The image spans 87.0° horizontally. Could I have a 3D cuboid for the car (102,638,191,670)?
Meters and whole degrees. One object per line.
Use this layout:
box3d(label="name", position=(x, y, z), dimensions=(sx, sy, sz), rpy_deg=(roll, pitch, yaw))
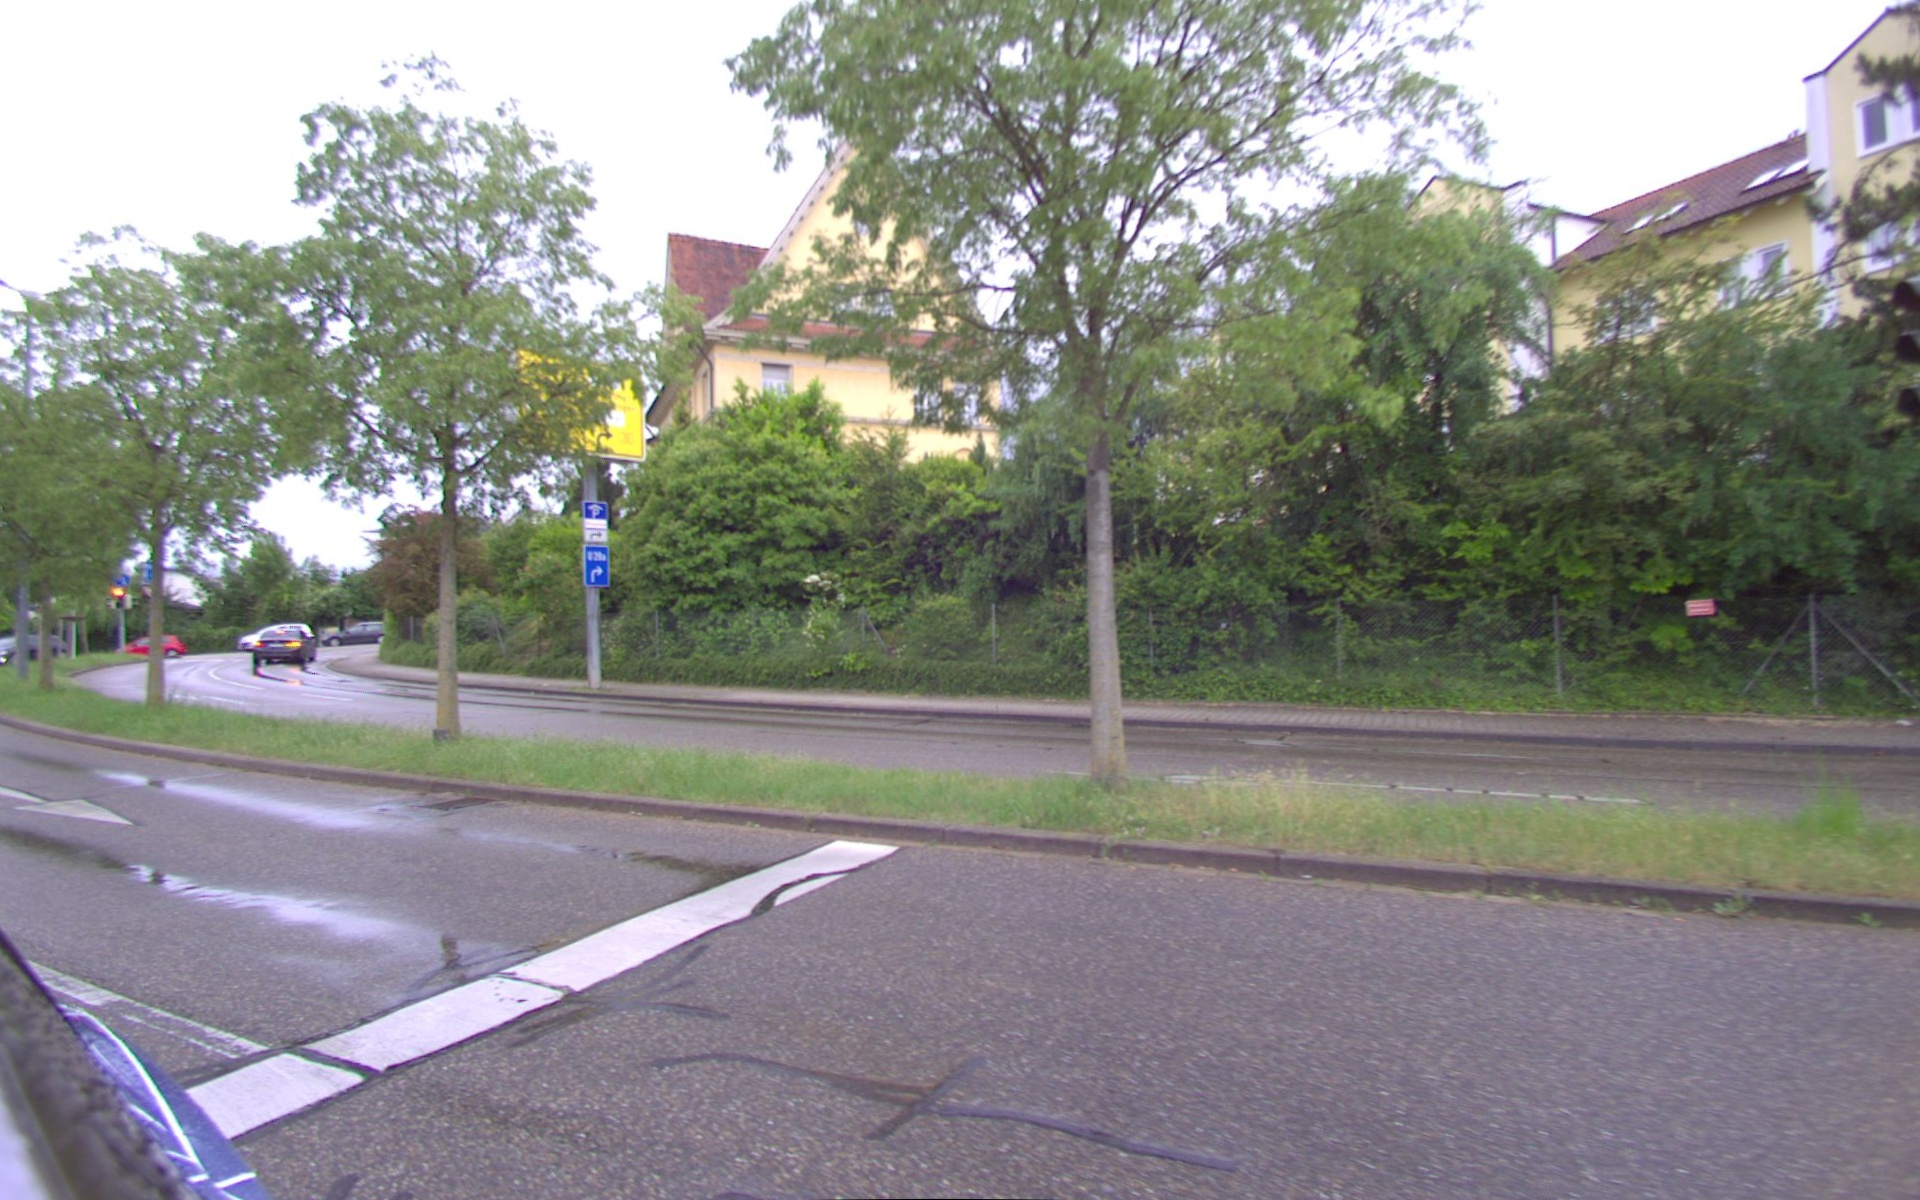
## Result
box3d(label="car", position=(-50.160, 3.321, 62.516), dimensions=(4.040, 1.838, 2.006), rpy_deg=(0, -3, -31))

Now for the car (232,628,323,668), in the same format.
box3d(label="car", position=(-38.641, 2.702, 57.361), dimensions=(3.941, 1.940, 1.914), rpy_deg=(-3, -2, -44))

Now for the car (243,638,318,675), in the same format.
box3d(label="car", position=(-28.382, 2.365, 42.395), dimensions=(1.965, 1.449, 4.562), rpy_deg=(2, -4, -26))

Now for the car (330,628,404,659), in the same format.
box3d(label="car", position=(-37.824, 2.791, 64.662), dimensions=(3.864, 1.634, 1.851), rpy_deg=(-4, -1, -26))

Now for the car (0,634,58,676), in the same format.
box3d(label="car", position=(-42.399, 2.491, 45.101), dimensions=(1.837, 1.739, 4.012), rpy_deg=(-4, -1, -20))
